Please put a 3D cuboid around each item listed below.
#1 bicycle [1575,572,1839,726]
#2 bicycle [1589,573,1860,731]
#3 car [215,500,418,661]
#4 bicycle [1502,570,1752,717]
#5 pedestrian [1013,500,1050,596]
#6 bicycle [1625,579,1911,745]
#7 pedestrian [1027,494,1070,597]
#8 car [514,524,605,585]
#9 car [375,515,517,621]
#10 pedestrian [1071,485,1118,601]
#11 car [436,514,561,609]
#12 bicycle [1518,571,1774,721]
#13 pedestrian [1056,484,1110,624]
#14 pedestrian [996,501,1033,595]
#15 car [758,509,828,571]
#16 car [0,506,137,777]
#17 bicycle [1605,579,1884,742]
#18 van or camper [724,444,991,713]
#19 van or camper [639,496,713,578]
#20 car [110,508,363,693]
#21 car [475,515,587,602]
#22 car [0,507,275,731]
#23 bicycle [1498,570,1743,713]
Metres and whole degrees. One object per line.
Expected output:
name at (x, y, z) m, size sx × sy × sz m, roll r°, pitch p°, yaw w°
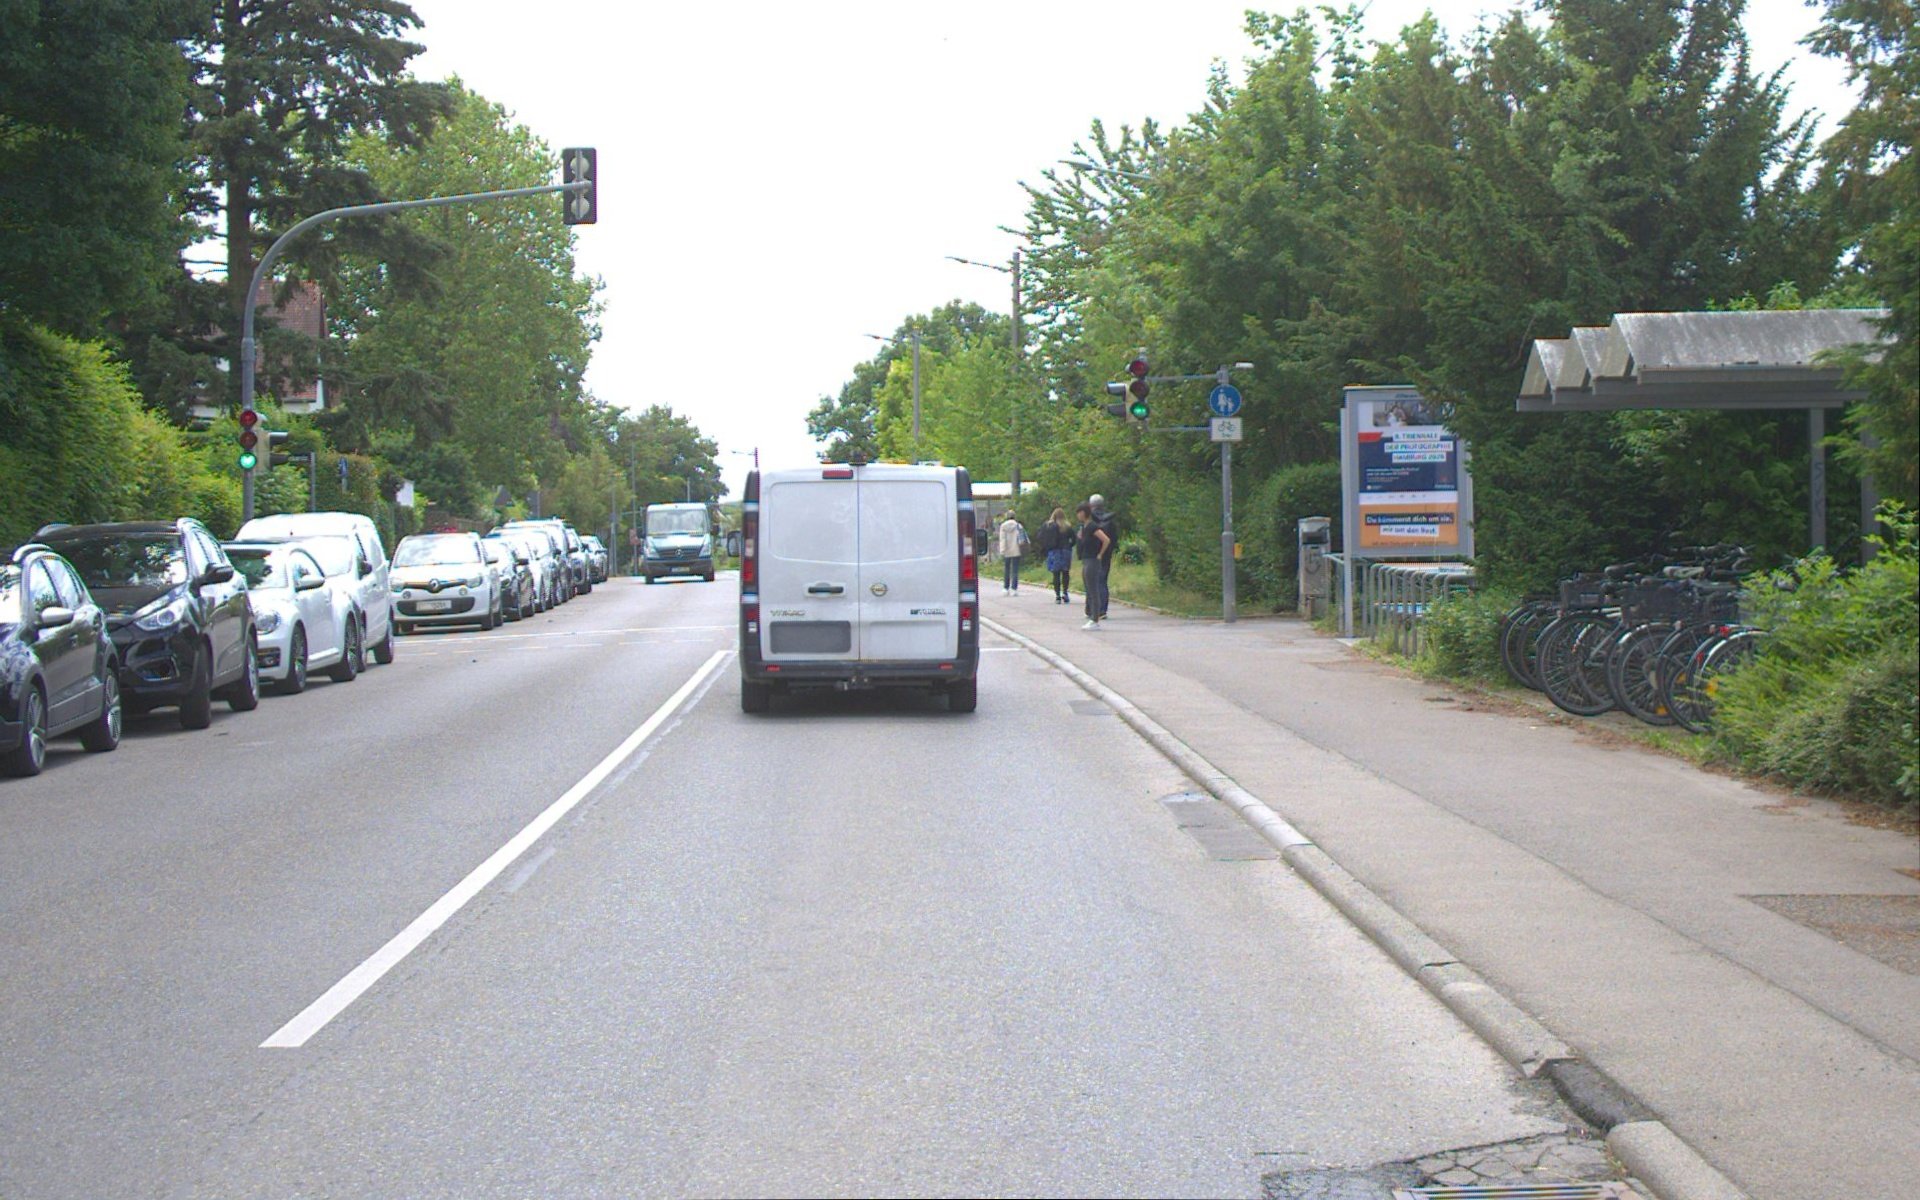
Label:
bicycle at (5.104, 0.333, 23.531) m, size 1.698 × 1.027 × 0.491 m, roll 0°, pitch 1°, yaw -2°
bicycle at (5.097, 0.339, 22.967) m, size 1.698 × 1.027 × 0.491 m, roll 0°, pitch 1°, yaw -2°
car at (-7.513, -0.267, 40.447) m, size 1.761 × 1.750 × 3.816 m, roll -2°, pitch 2°, yaw -2°
bicycle at (4.789, 0.307, 24.732) m, size 1.698 × 1.027 × 0.491 m, roll 0°, pitch 1°, yaw -2°
pedestrian at (1.379, -1.008, 66.257) m, size 0.702 × 1.844 × 0.666 m, roll 0°, pitch 1°, yaw 2°
bicycle at (5.123, 0.389, 21.837) m, size 1.698 × 1.027 × 0.491 m, roll 0°, pitch 1°, yaw -2°
pedestrian at (1.566, -0.965, 60.834) m, size 0.649 × 1.800 × 0.566 m, roll 0°, pitch 1°, yaw -12°
car at (-9.732, -1.121, 83.720) m, size 1.780 × 1.419 × 4.000 m, roll 0°, pitch 1°, yaw -1°
car at (-8.038, -0.525, 54.040) m, size 1.761 × 1.551 × 3.816 m, roll -2°, pitch 2°, yaw -2°
pedestrian at (1.987, -0.843, 50.695) m, size 0.674 × 1.690 × 0.522 m, roll 0°, pitch 2°, yaw 4°
car at (-8.409, -0.732, 62.896) m, size 1.780 × 1.663 × 4.000 m, roll 0°, pitch 1°, yaw -1°
bicycle at (4.821, 0.319, 24.216) m, size 1.698 × 1.027 × 0.491 m, roll 0°, pitch 1°, yaw -2°
pedestrian at (1.631, -0.611, 45.533) m, size 0.680 × 1.834 × 0.645 m, roll 0°, pitch 1°, yaw 5°
pedestrian at (1.072, -1.028, 67.674) m, size 0.702 × 1.844 × 0.666 m, roll 0°, pitch 1°, yaw -1°
car at (-4.542, -1.652, 93.968) m, size 1.780 × 1.663 × 4.000 m, roll 0°, pitch 1°, yaw -1°
car at (-6.753, 0.227, 22.808) m, size 1.761 × 1.651 × 3.816 m, roll -2°, pitch 2°, yaw -2°
bicycle at (5.100, 0.388, 22.393) m, size 1.698 × 1.027 × 0.491 m, roll 0°, pitch 1°, yaw -2°
van or camper at (-0.803, -0.195, 28.115) m, size 1.993 × 2.007 × 4.446 m, roll 1°, pitch 1°, yaw -1°
van or camper at (-8.167, -1.836, 99.272) m, size 2.004 × 2.253 × 4.613 m, roll -2°, pitch 1°, yaw -4°
car at (-6.982, -0.049, 33.520) m, size 1.761 × 1.651 × 3.816 m, roll -2°, pitch 2°, yaw -2°
car at (-8.506, -0.854, 68.432) m, size 1.780 × 1.663 × 4.000 m, roll 0°, pitch 1°, yaw -1°
car at (-6.773, 0.096, 27.919) m, size 1.761 × 1.651 × 3.816 m, roll -2°, pitch 2°, yaw -2°
bicycle at (4.850, 0.302, 25.283) m, size 1.698 × 1.027 × 0.491 m, roll 0°, pitch 1°, yaw -2°
